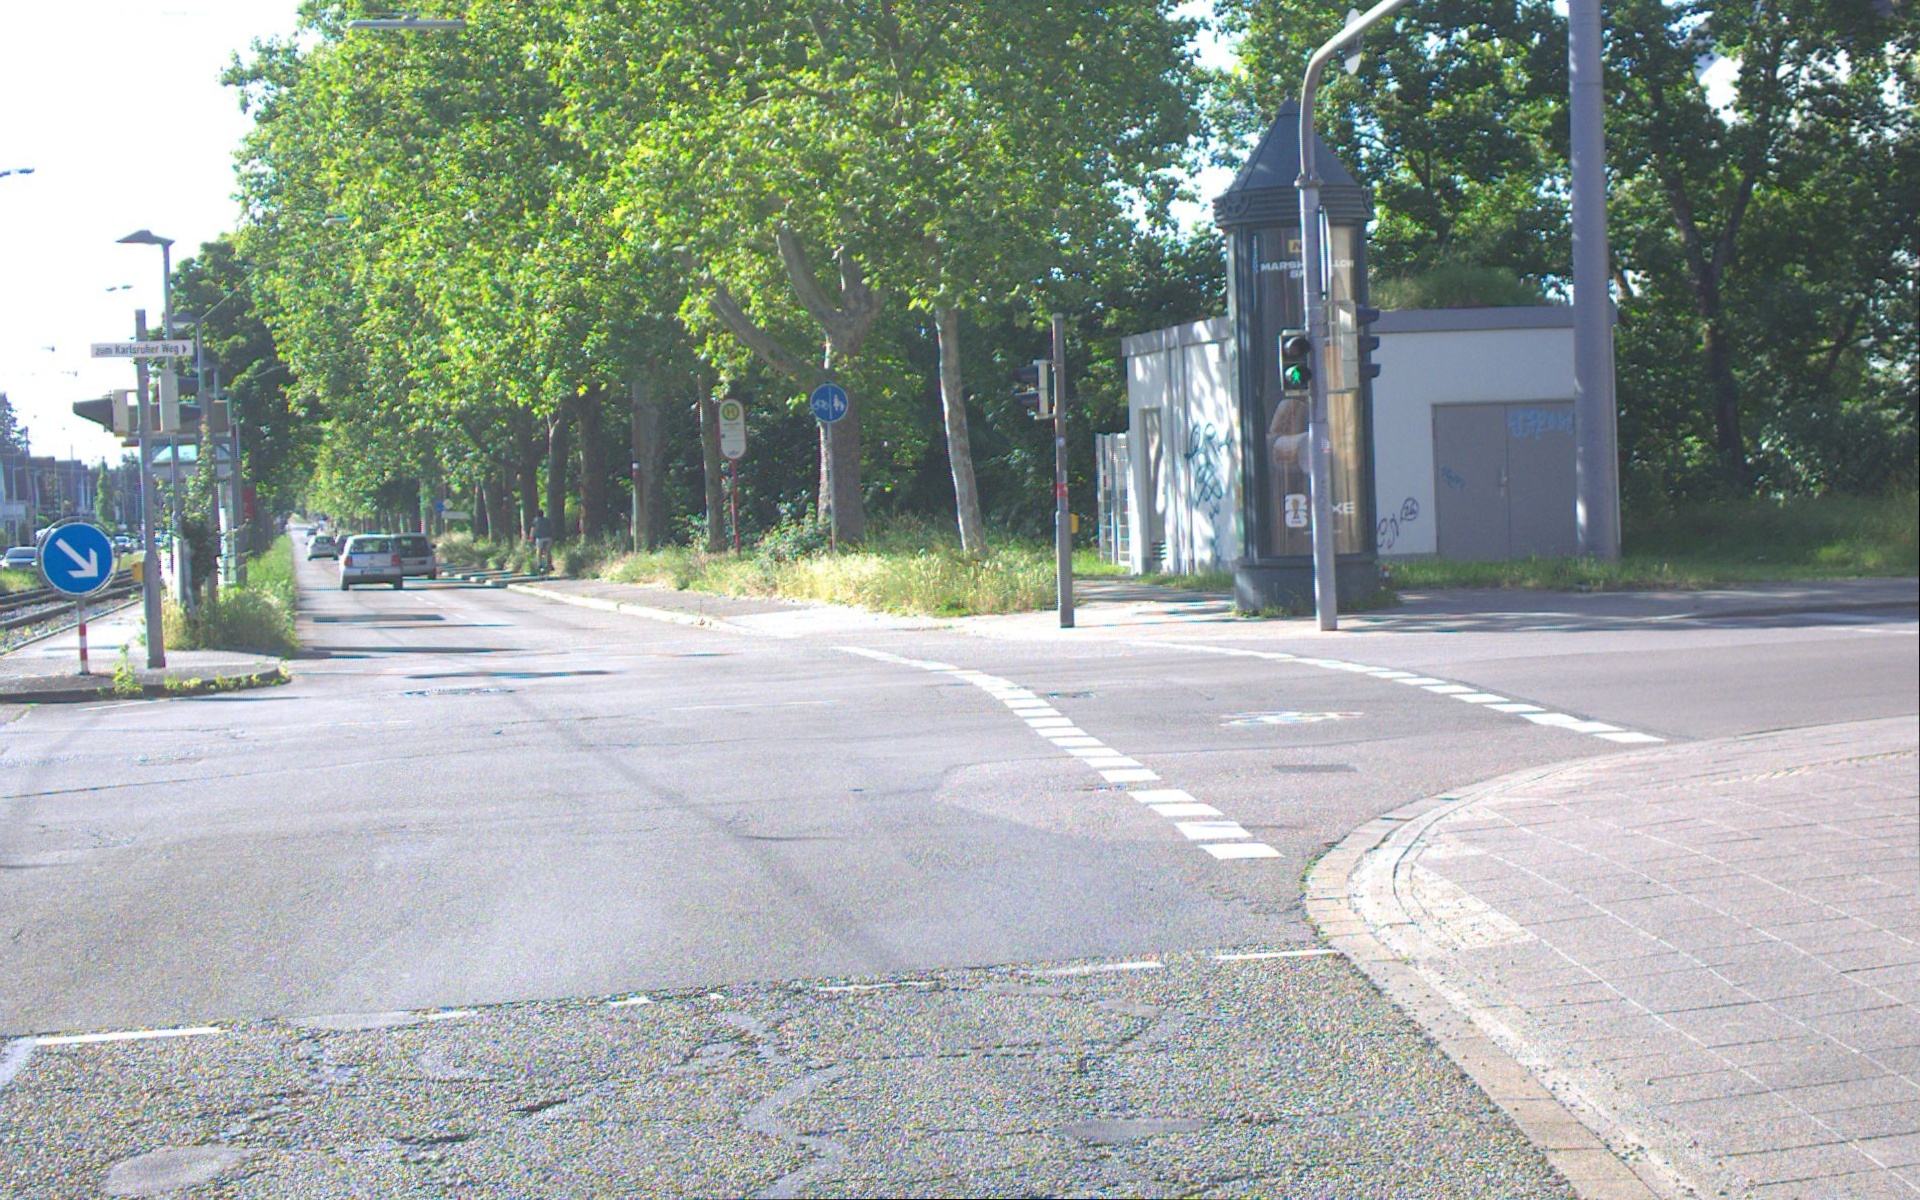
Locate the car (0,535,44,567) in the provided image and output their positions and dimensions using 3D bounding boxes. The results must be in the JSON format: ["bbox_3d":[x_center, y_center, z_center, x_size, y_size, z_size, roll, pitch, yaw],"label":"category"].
[{"bbox_3d":[-45.087,-2.338,164.736,1.993,1.464,4.378,-2,1,-12],"label":"car"}]

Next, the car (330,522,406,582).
[{"bbox_3d":[-15.608,-1.269,90.550,1.867,1.481,3.556,-2,1,-11],"label":"car"}]

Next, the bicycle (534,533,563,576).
[{"bbox_3d":[-10.584,-1.172,88.436,0.536,1.062,1.434,-3,2,-13],"label":"bicycle"}]

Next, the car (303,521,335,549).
[{"bbox_3d":[-38.283,-3.890,205.357,1.750,1.599,3.582,-3,2,-12],"label":"car"}]

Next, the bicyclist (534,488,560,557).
[{"bbox_3d":[-10.629,-1.995,88.488,0.534,1.763,0.713,-3,1,-13],"label":"bicyclist"}]

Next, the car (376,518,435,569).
[{"bbox_3d":[-18.153,-1.851,112.507,1.750,1.599,3.751,-2,2,-11],"label":"car"}]
